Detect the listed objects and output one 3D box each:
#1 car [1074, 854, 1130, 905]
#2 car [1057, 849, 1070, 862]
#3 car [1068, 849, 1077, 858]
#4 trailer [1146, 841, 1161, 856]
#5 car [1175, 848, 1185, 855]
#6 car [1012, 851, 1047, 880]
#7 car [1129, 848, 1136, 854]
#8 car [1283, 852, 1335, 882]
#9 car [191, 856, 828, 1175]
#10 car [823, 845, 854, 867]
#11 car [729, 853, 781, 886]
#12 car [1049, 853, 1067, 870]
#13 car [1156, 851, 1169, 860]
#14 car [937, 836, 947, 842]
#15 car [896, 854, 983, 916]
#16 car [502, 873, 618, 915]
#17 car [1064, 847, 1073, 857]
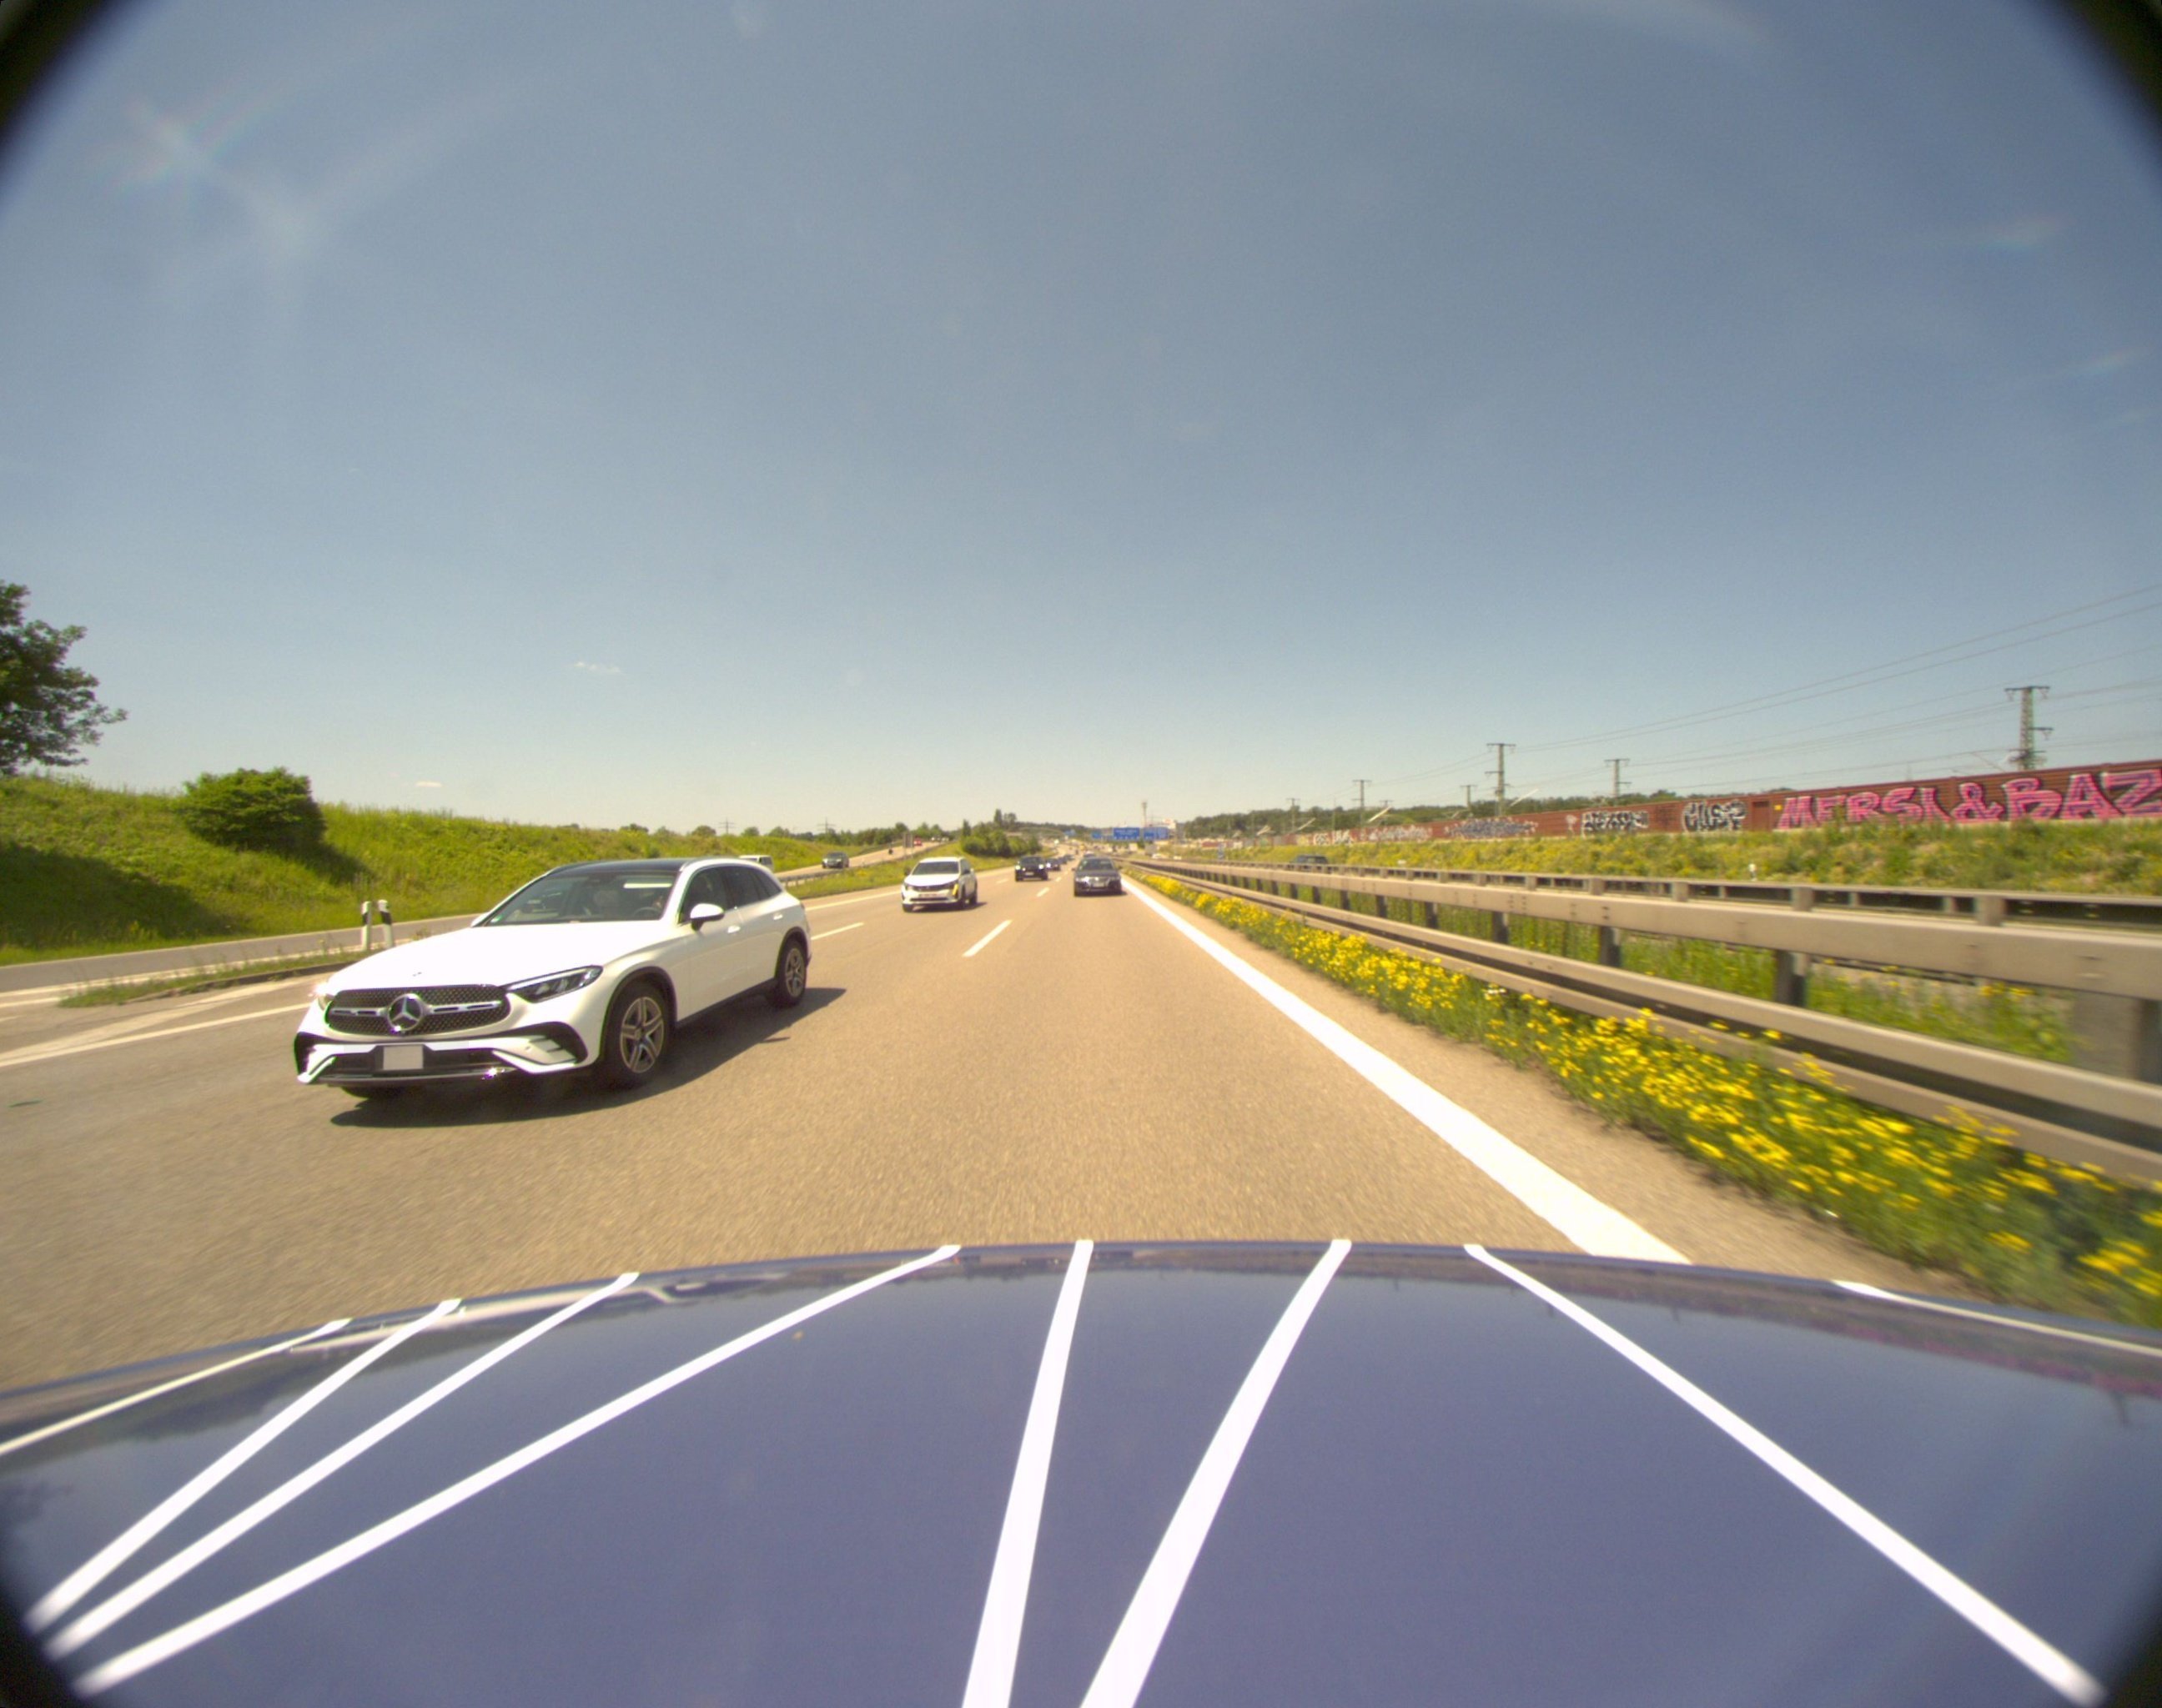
[{"bbox_3d":[0.667,0.830,26.775,1.752,1.462,3.998,-2,2,-1],"label":"car"},{"bbox_3d":[-2.896,0.156,127.101,1.999,2.002,3.999,-2,1,-1],"label":"car"},{"bbox_3d":[-1.953,-0.148,184.008,1.998,2.002,3.999,-3,2,1],"label":"car"},{"bbox_3d":[19.957,-1.591,210.283,2.737,4.050,13.527,-1,1,0],"label":"trailer"},{"bbox_3d":[22.694,-0.518,174.214,1.725,1.535,3.809,-2,0,1],"label":"car"},{"bbox_3d":[-3.322,0.720,49.700,1.983,1.620,4.615,-3,1,-1],"label":"car"},{"bbox_3d":[15.699,-0.925,231.904,1.998,2.002,4.000,-2,0,1],"label":"car"},{"bbox_3d":[12.995,0.700,43.491,1.808,1.565,4.000,-2,0,1],"label":"car"},{"bbox_3d":[-3.978,0.918,6.592,1.909,1.646,4.635,-3,1,0],"label":"car"},{"bbox_3d":[-25.000,0.173,78.457,1.999,2.002,3.997,-3,2,-3],"label":"car"},{"bbox_3d":[-23.069,1.055,53.962,2.000,2.159,4.890,-2,0,-7],"label":"car"},{"bbox_3d":[-2.302,0.755,75.710,1.752,1.462,3.998,-2,2,-2],"label":"car"},{"bbox_3d":[15.029,0.193,140.636,1.917,1.535,4.809,-2,0,1],"label":"car"},{"bbox_3d":[-37.340,-4.075,204.213,1.983,1.620,4.615,-3,1,-1],"label":"car"},{"bbox_3d":[-4.427,0.898,24.516,1.898,1.620,4.615,-3,1,0],"label":"car"},{"bbox_3d":[-20.722,1.525,30.459,2.000,1.375,4.294,-2,1,-6],"label":"car"},{"bbox_3d":[-2.711,-0.447,165.520,1.999,2.002,3.999,-2,1,-1],"label":"car"}]
